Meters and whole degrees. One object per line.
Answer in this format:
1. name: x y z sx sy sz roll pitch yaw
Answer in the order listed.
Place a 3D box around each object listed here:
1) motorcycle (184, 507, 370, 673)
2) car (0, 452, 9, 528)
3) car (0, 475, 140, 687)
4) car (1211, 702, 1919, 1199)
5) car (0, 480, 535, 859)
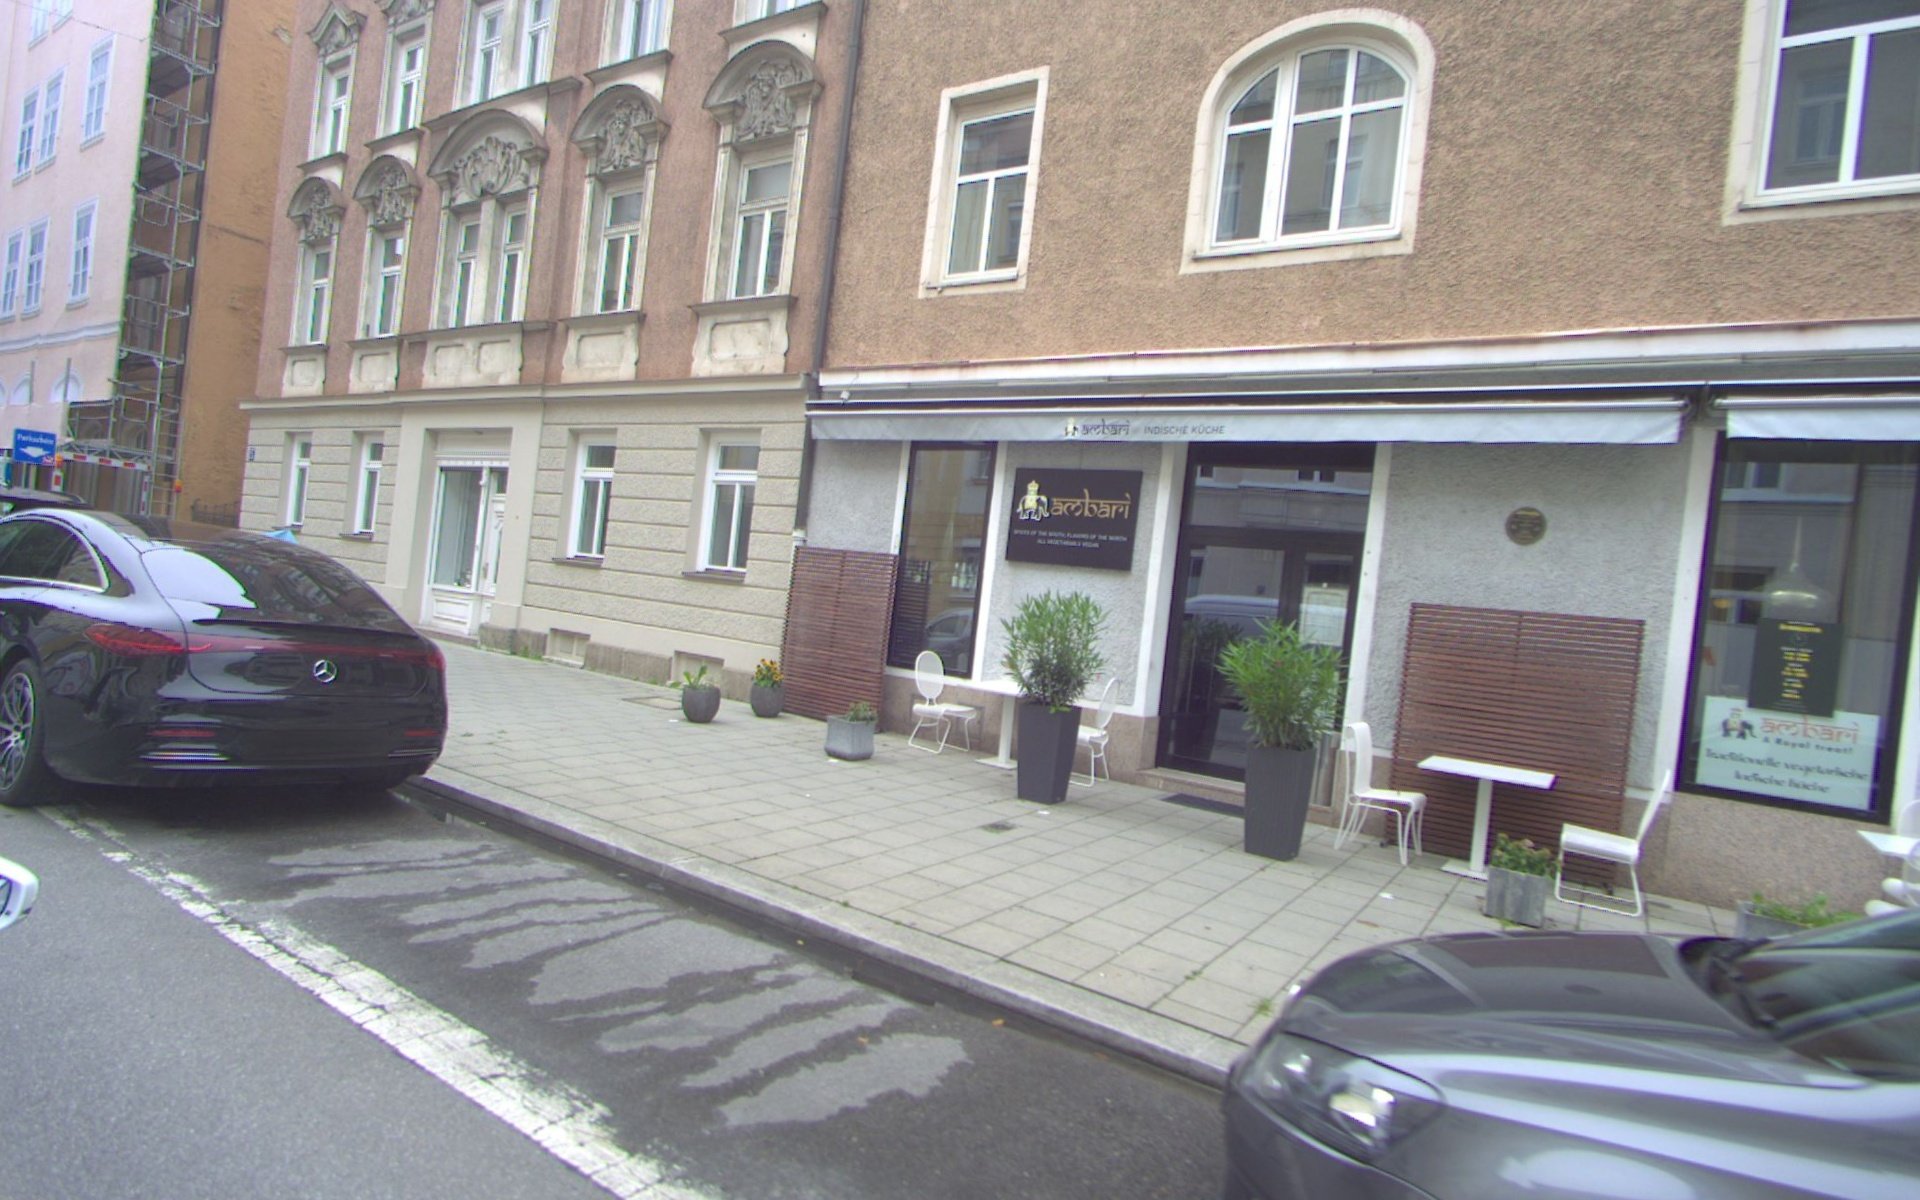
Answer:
1. motorcycle: -7.246 -0.123 10.640 1.966 1.523 0.872 6 0 35
2. car: -14.552 -1.079 13.033 5.061 1.942 2.085 3 -3 34
3. car: -9.751 -0.355 9.580 4.338 1.694 1.697 6 -4 34
4. car: 2.622 1.146 1.427 4.114 1.411 1.574 6 0 33
5. car: -5.426 0.148 6.610 5.544 1.571 1.934 7 -1 33
